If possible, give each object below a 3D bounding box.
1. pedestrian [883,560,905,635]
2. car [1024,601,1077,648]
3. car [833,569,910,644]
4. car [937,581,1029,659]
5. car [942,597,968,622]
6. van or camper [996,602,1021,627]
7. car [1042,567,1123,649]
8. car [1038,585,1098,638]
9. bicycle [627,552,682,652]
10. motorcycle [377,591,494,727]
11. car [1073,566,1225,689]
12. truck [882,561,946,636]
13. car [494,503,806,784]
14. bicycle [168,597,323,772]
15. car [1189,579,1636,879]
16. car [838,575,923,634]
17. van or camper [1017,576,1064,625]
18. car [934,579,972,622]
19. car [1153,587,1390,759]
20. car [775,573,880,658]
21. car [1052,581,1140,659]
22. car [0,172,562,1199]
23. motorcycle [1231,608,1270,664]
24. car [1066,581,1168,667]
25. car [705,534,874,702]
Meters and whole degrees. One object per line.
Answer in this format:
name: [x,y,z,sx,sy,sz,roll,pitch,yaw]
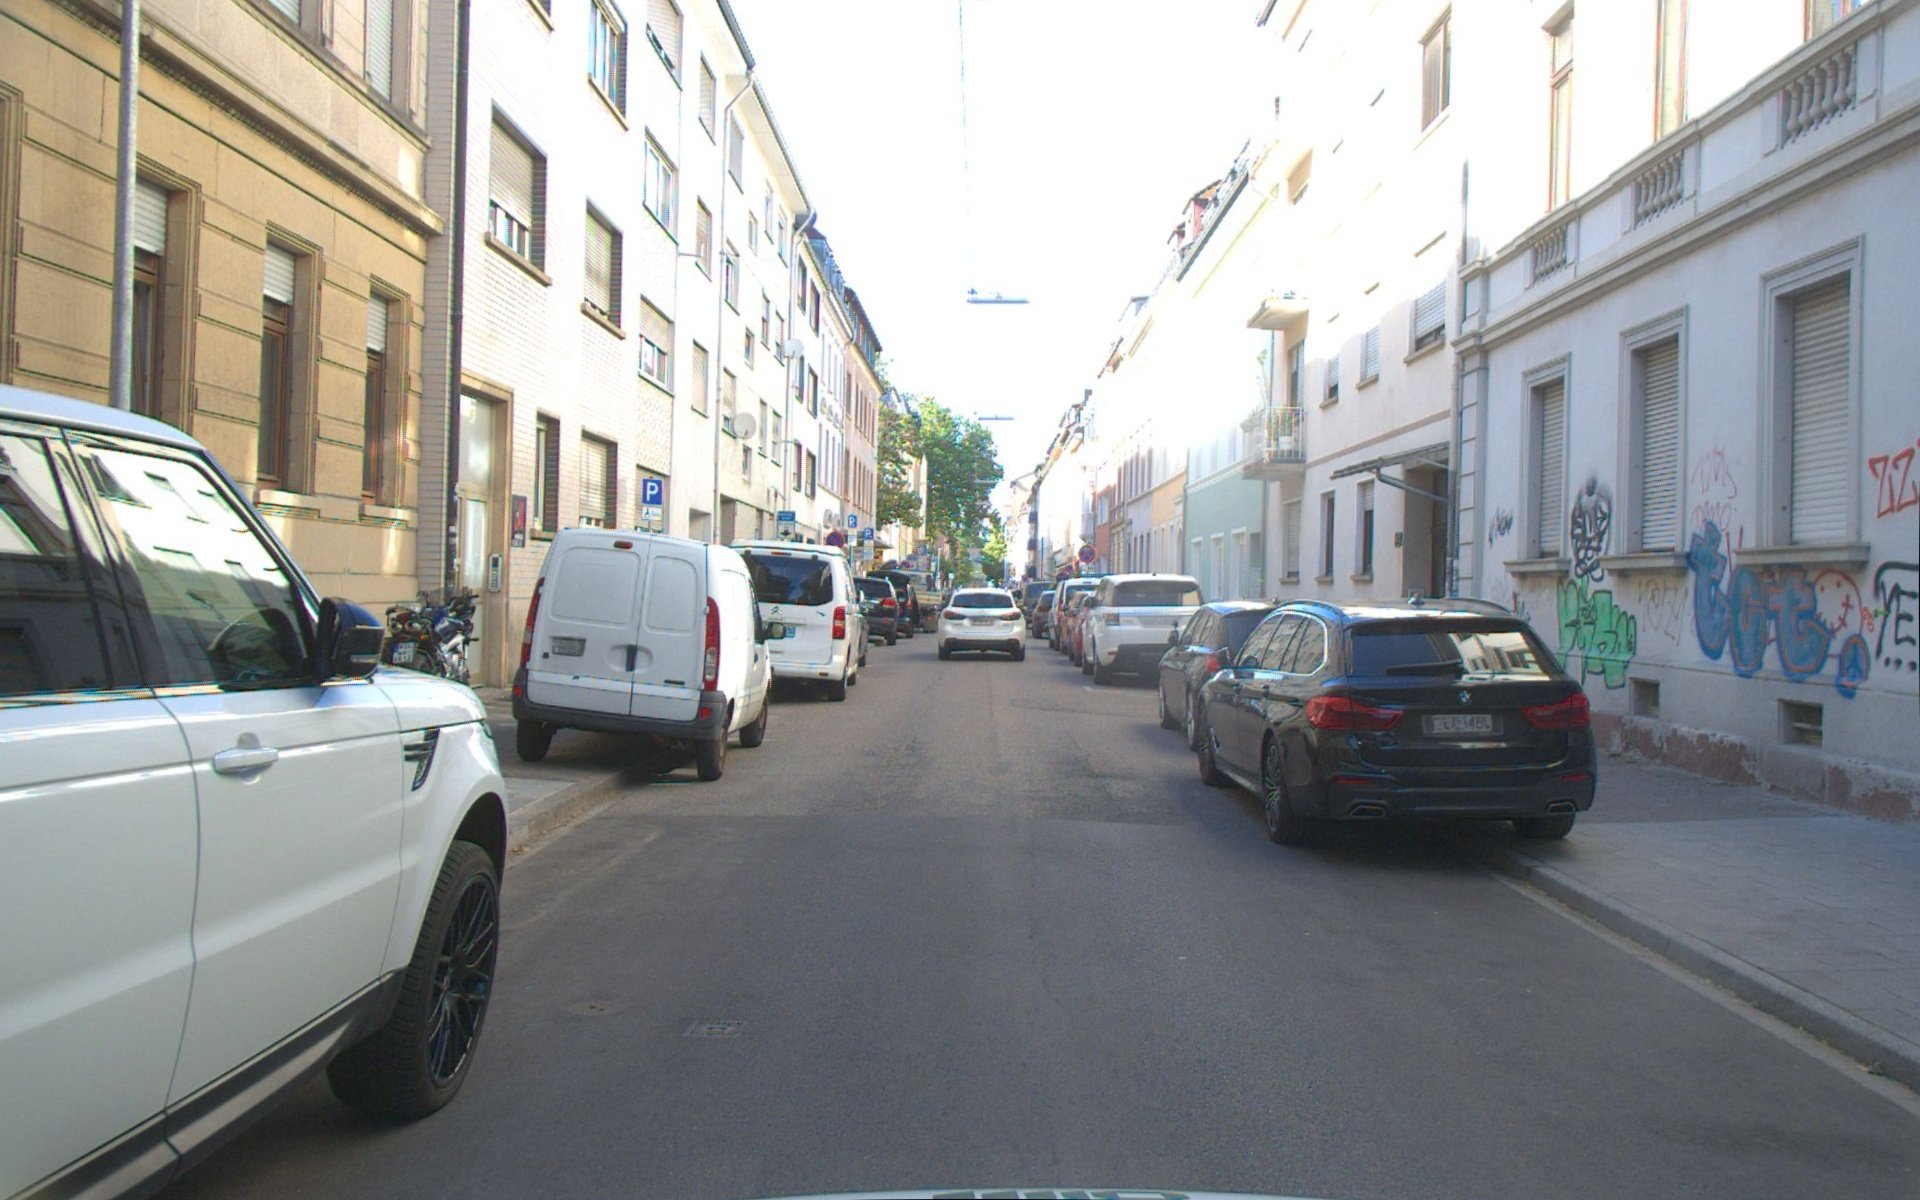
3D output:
pedestrian: [-2.034,-0.069,50.848,0.606,2.268,0.688,1,-1,1]
car: [3.314,0.886,61.166,1.706,1.596,4.032,1,1,0]
car: [-2.362,0.133,44.610,1.842,1.785,4.541,4,1,-3]
car: [0.515,0.392,34.922,1.796,1.512,4.058,1,0,2]
car: [-0.328,0.647,113.321,1.591,1.625,3.580,2,0,1]
van or camper: [3.986,1.214,136.399,1.952,1.959,4.000,1,-1,1]
car: [3.167,0.209,43.405,1.745,1.996,4.335,1,0,0]
car: [3.509,0.340,54.225,1.703,1.604,4.378,1,1,0]
bicycle: [-4.922,0.028,26.726,0.546,1.535,1.799,3,0,-3]
motorcycle: [-5.004,0.525,15.894,0.424,1.206,2.121,2,0,0]
car: [3.031,0.380,27.482,1.964,1.814,4.939,1,1,0]
truck: [-1.749,-0.007,61.259,2.114,2.635,6.244,1,-1,-4]
car: [-2.454,0.288,14.124,1.709,1.908,4.090,5,1,0]
bicycle: [-5.070,0.564,11.821,0.424,1.145,1.508,2,0,0]
car: [2.821,0.684,11.488,1.778,1.546,4.728,3,1,0]
car: [-2.494,0.111,53.293,2.391,1.735,5.243,2,0,1]
van or camper: [3.547,0.026,73.290,1.739,2.072,4.569,0,0,-1]
car: [-0.337,0.021,76.758,1.614,1.900,3.999,1,0,-2]
car: [3.121,0.666,17.292,1.711,1.473,3.870,3,1,0]
car: [-2.488,0.274,31.902,1.672,1.475,4.301,2,0,-1]
car: [3.108,0.422,38.378,1.548,1.660,3.680,3,0,-2]
car: [-2.324,0.408,3.059,1.980,2.049,4.543,1,0,1]
motorcycle: [5.716,0.697,32.636,0.470,1.064,1.691,1,0,0]
car: [3.146,0.438,33.875,1.706,1.596,4.032,1,1,0]
car: [-2.255,0.185,23.078,1.856,1.992,4.780,3,1,-1]
